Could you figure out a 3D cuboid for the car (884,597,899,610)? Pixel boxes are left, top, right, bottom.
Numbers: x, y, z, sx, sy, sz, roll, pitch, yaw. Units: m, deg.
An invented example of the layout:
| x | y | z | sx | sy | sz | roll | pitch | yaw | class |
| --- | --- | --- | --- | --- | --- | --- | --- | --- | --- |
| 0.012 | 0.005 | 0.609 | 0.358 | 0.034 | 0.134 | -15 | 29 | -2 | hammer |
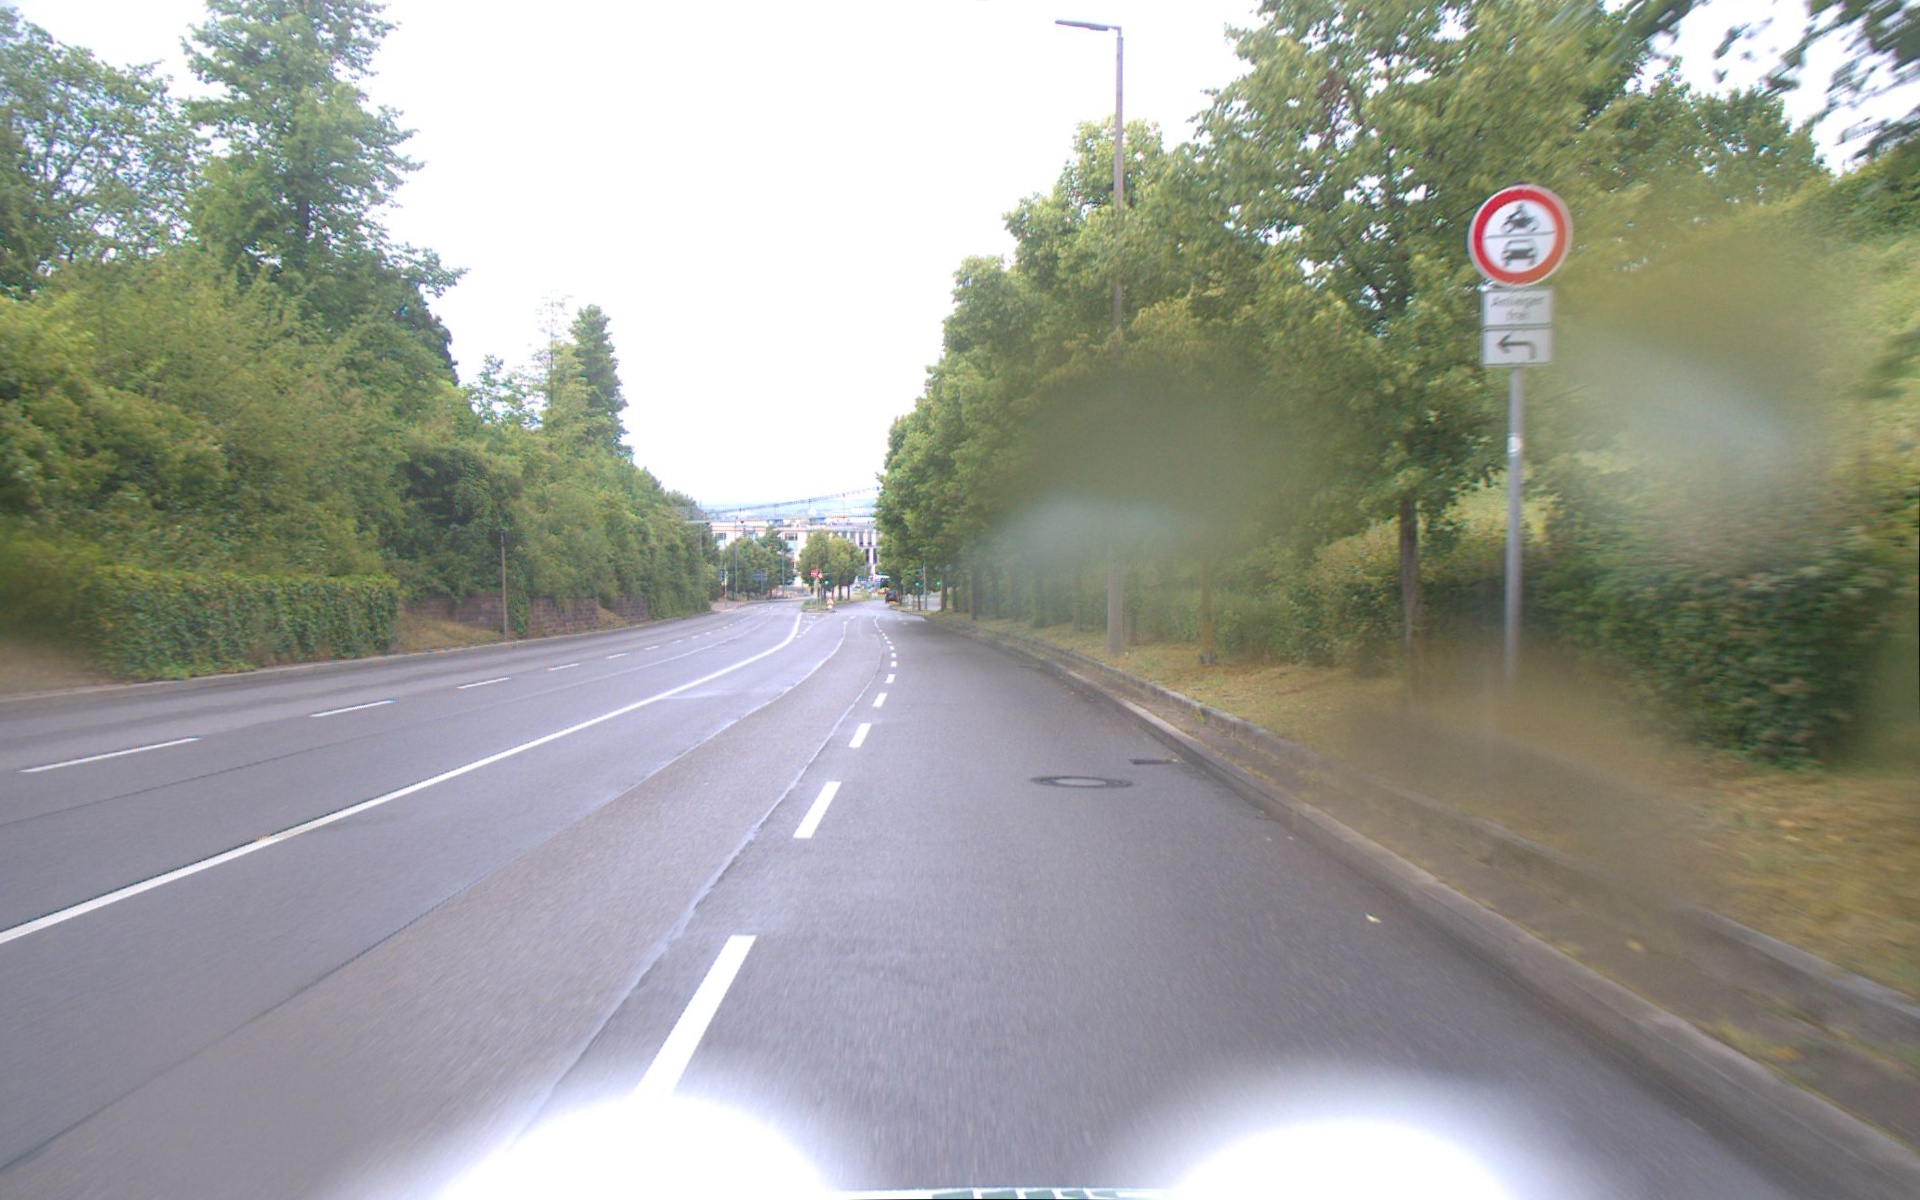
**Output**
| x | y | z | sx | sy | sz | roll | pitch | yaw | class |
| --- | --- | --- | --- | --- | --- | --- | --- | --- | --- |
| -9.504 | 0.499 | 229.278 | 1.811 | 1.731 | 3.793 | 2 | -1 | 1 | car |
